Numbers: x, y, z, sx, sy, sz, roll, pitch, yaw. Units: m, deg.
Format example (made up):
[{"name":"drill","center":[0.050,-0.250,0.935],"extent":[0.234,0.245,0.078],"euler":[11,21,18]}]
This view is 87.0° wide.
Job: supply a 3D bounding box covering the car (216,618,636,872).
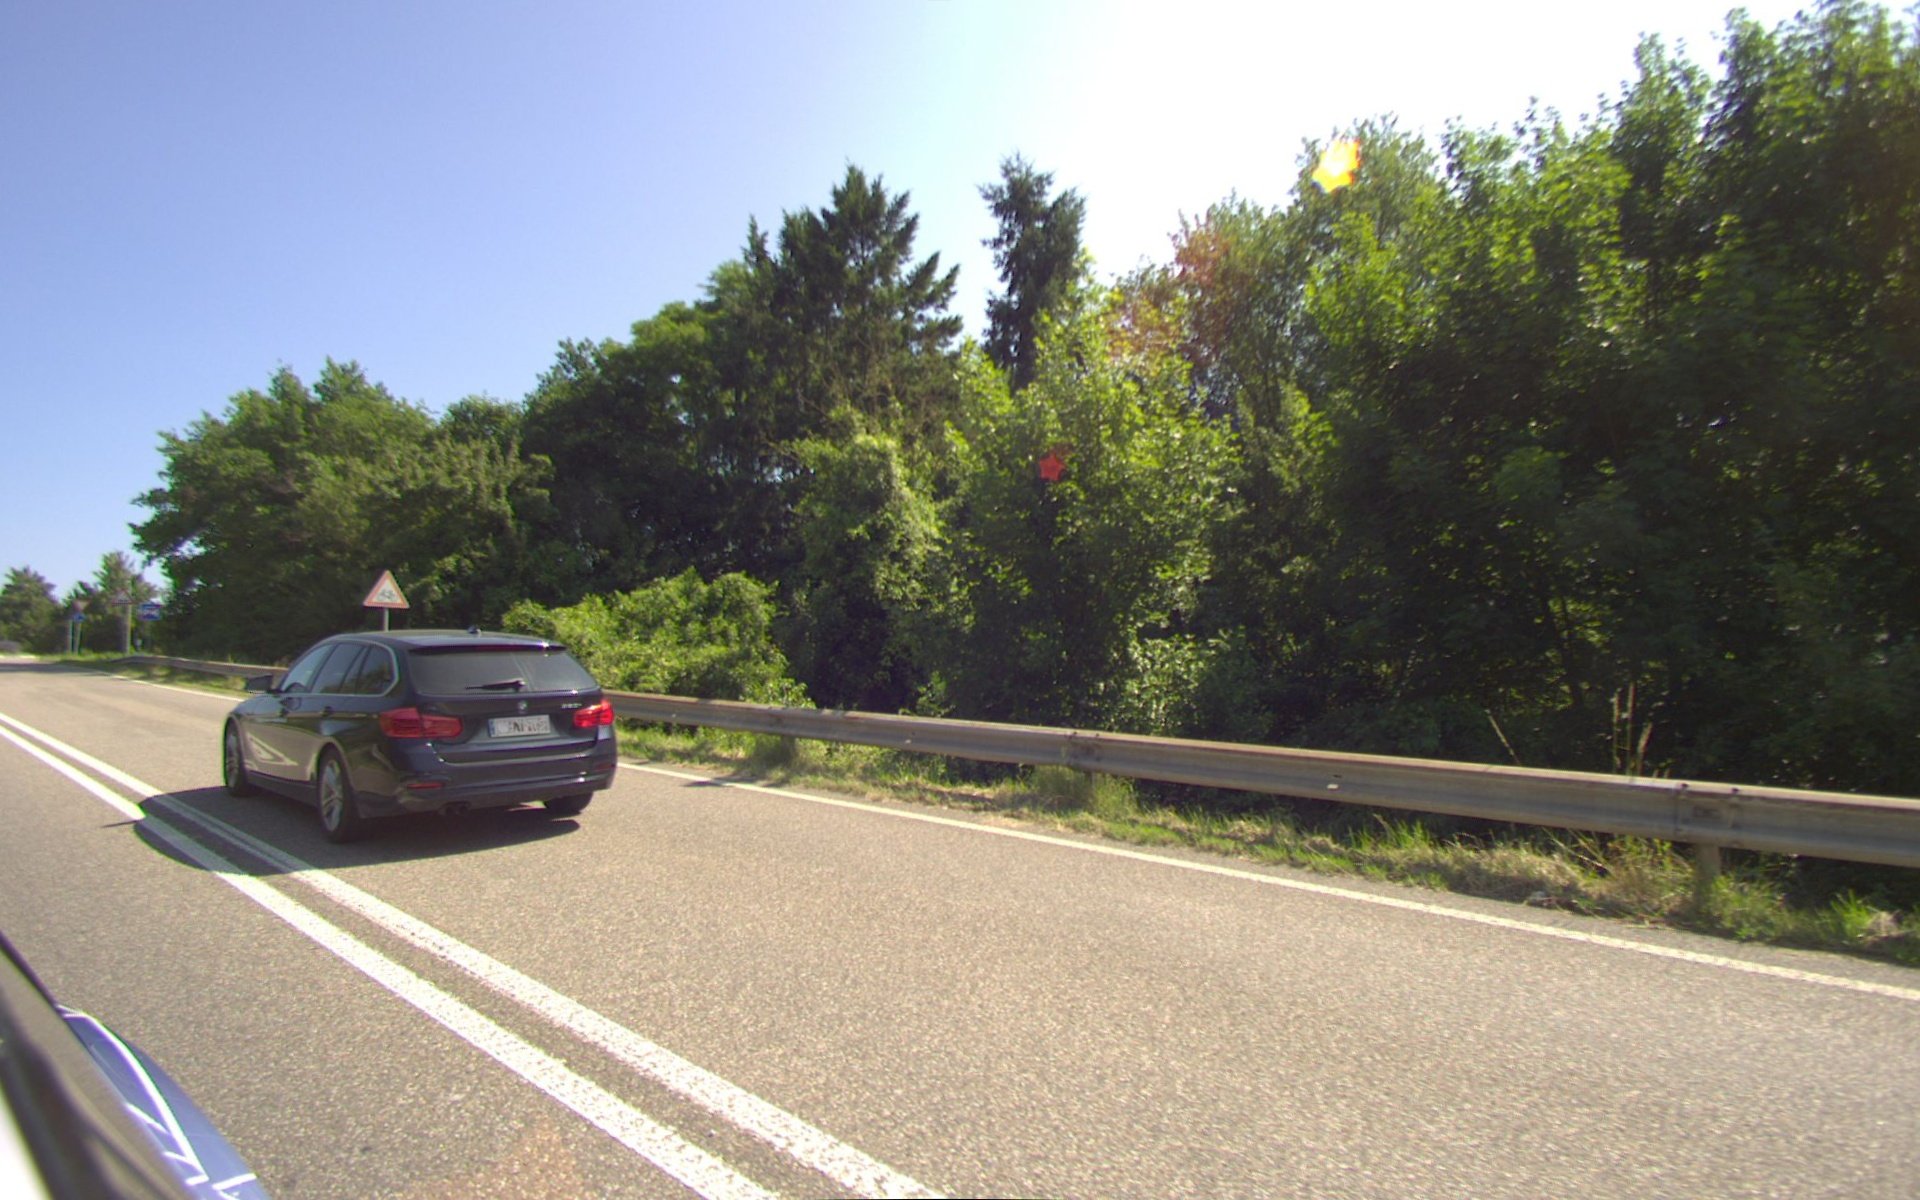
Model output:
[{"name":"car","center":[-4.367,0.911,7.957],"extent":[4.219,1.484,1.590],"euler":[-2,-3,43]}]
